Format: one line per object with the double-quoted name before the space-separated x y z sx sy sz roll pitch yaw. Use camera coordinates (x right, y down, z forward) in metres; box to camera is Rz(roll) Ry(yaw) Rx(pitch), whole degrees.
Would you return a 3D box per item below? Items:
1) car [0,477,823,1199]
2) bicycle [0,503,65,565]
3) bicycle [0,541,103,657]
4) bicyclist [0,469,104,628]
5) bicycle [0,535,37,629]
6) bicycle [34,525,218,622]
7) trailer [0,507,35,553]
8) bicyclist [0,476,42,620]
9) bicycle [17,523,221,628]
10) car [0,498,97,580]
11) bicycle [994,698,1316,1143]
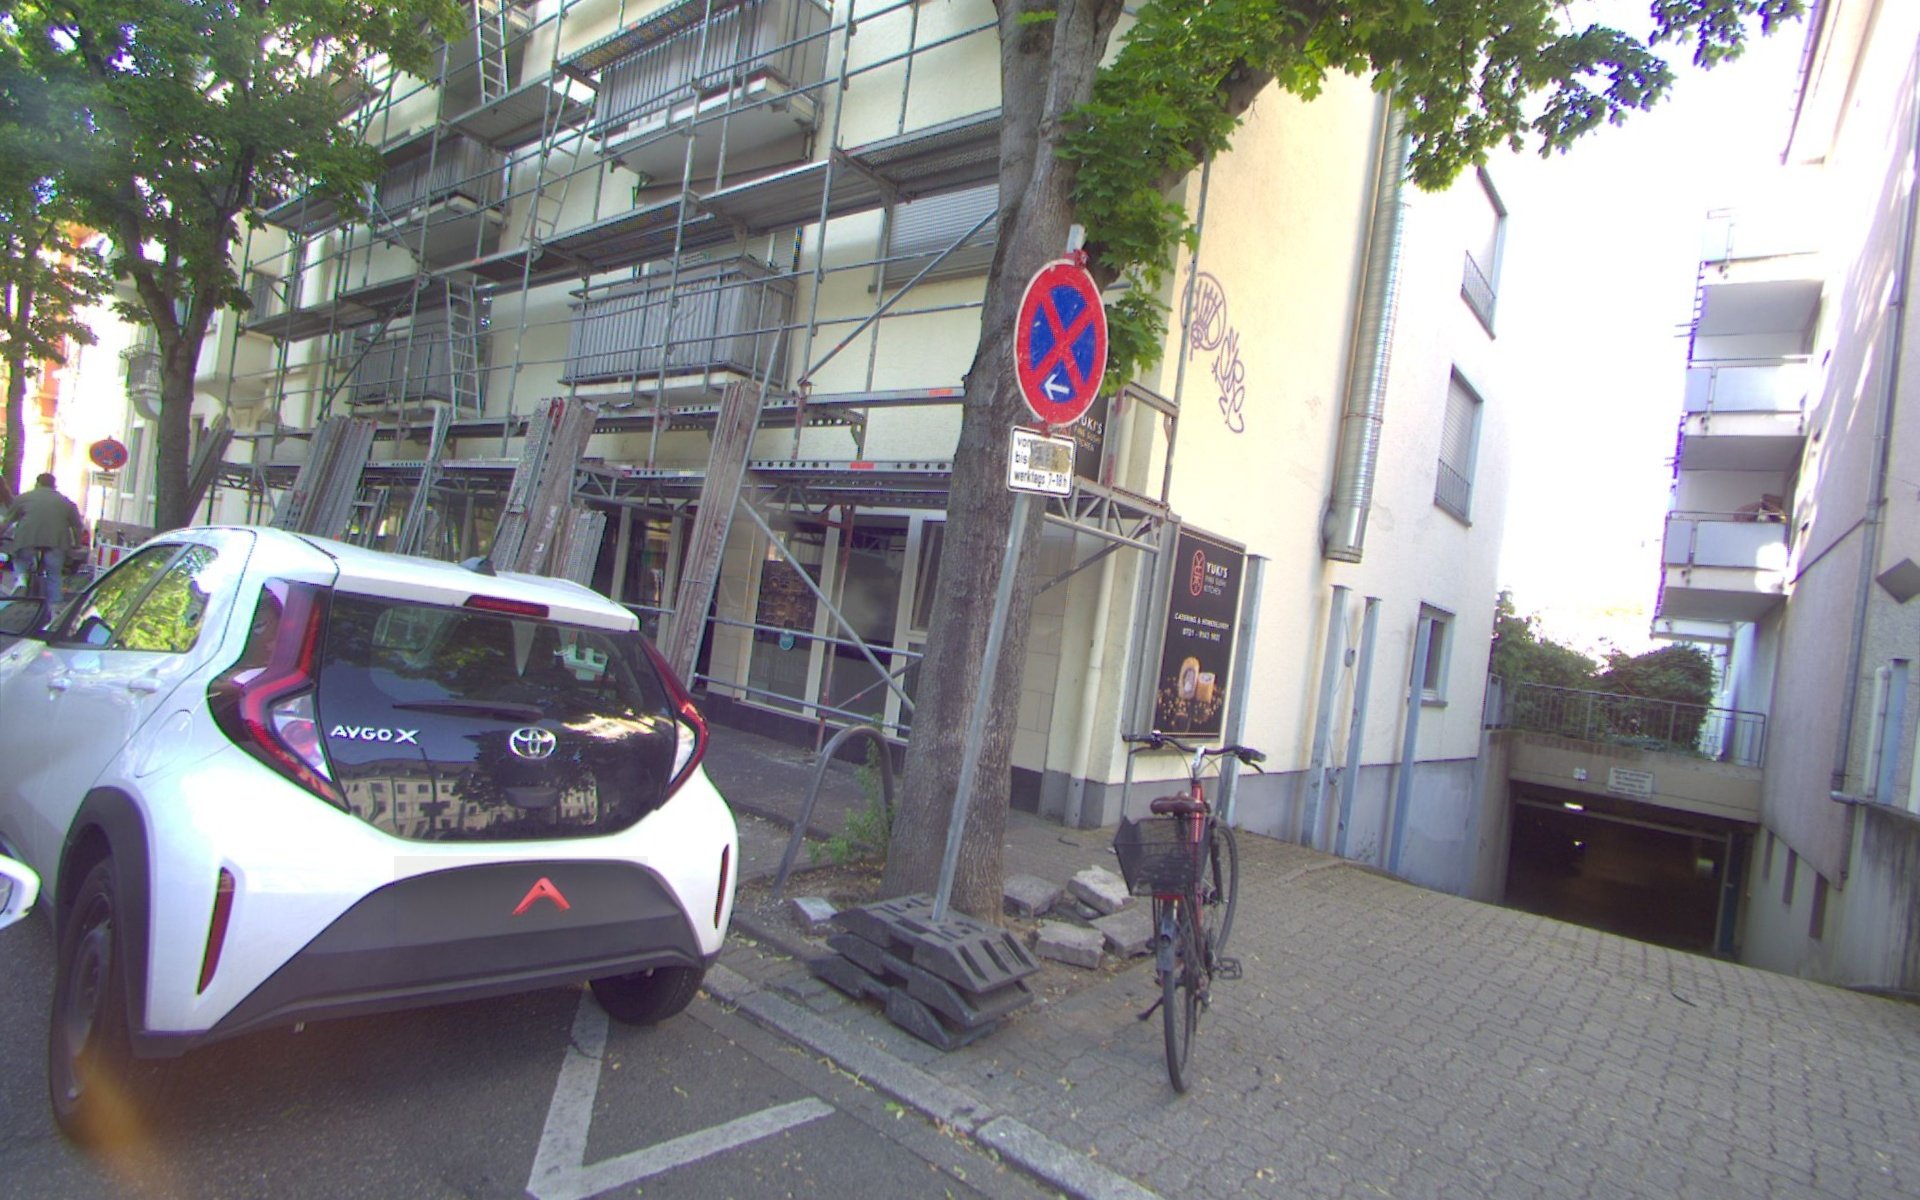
"car" -2.583 0.490 3.892 3.909 1.553 1.801 7 -2 41
"bicycle" -22.908 -1.639 24.285 0.577 1.320 1.759 7 -1 38
"bicycle" -10.178 -0.040 11.069 1.831 1.072 0.739 6 -3 40
"bicyclist" -10.163 -0.571 11.107 0.967 1.583 0.755 7 -2 39
"bicycle" -12.143 -0.299 12.421 1.830 1.056 0.706 6 -4 39
"bicycle" -12.383 -0.384 15.011 1.969 1.134 0.739 9 -1 -40
"trailer" -25.871 -1.966 26.344 1.096 1.125 2.087 7 -2 26
"bicyclist" -12.047 -0.690 12.395 0.966 1.707 0.715 7 -3 37
"bicycle" -11.497 -0.318 13.840 1.903 1.134 0.744 9 -1 -21
"car" -20.131 -1.390 21.575 4.366 1.440 1.678 7 0 40
"bicycle" 0.920 1.101 4.171 0.738 1.170 1.969 6 2 25
